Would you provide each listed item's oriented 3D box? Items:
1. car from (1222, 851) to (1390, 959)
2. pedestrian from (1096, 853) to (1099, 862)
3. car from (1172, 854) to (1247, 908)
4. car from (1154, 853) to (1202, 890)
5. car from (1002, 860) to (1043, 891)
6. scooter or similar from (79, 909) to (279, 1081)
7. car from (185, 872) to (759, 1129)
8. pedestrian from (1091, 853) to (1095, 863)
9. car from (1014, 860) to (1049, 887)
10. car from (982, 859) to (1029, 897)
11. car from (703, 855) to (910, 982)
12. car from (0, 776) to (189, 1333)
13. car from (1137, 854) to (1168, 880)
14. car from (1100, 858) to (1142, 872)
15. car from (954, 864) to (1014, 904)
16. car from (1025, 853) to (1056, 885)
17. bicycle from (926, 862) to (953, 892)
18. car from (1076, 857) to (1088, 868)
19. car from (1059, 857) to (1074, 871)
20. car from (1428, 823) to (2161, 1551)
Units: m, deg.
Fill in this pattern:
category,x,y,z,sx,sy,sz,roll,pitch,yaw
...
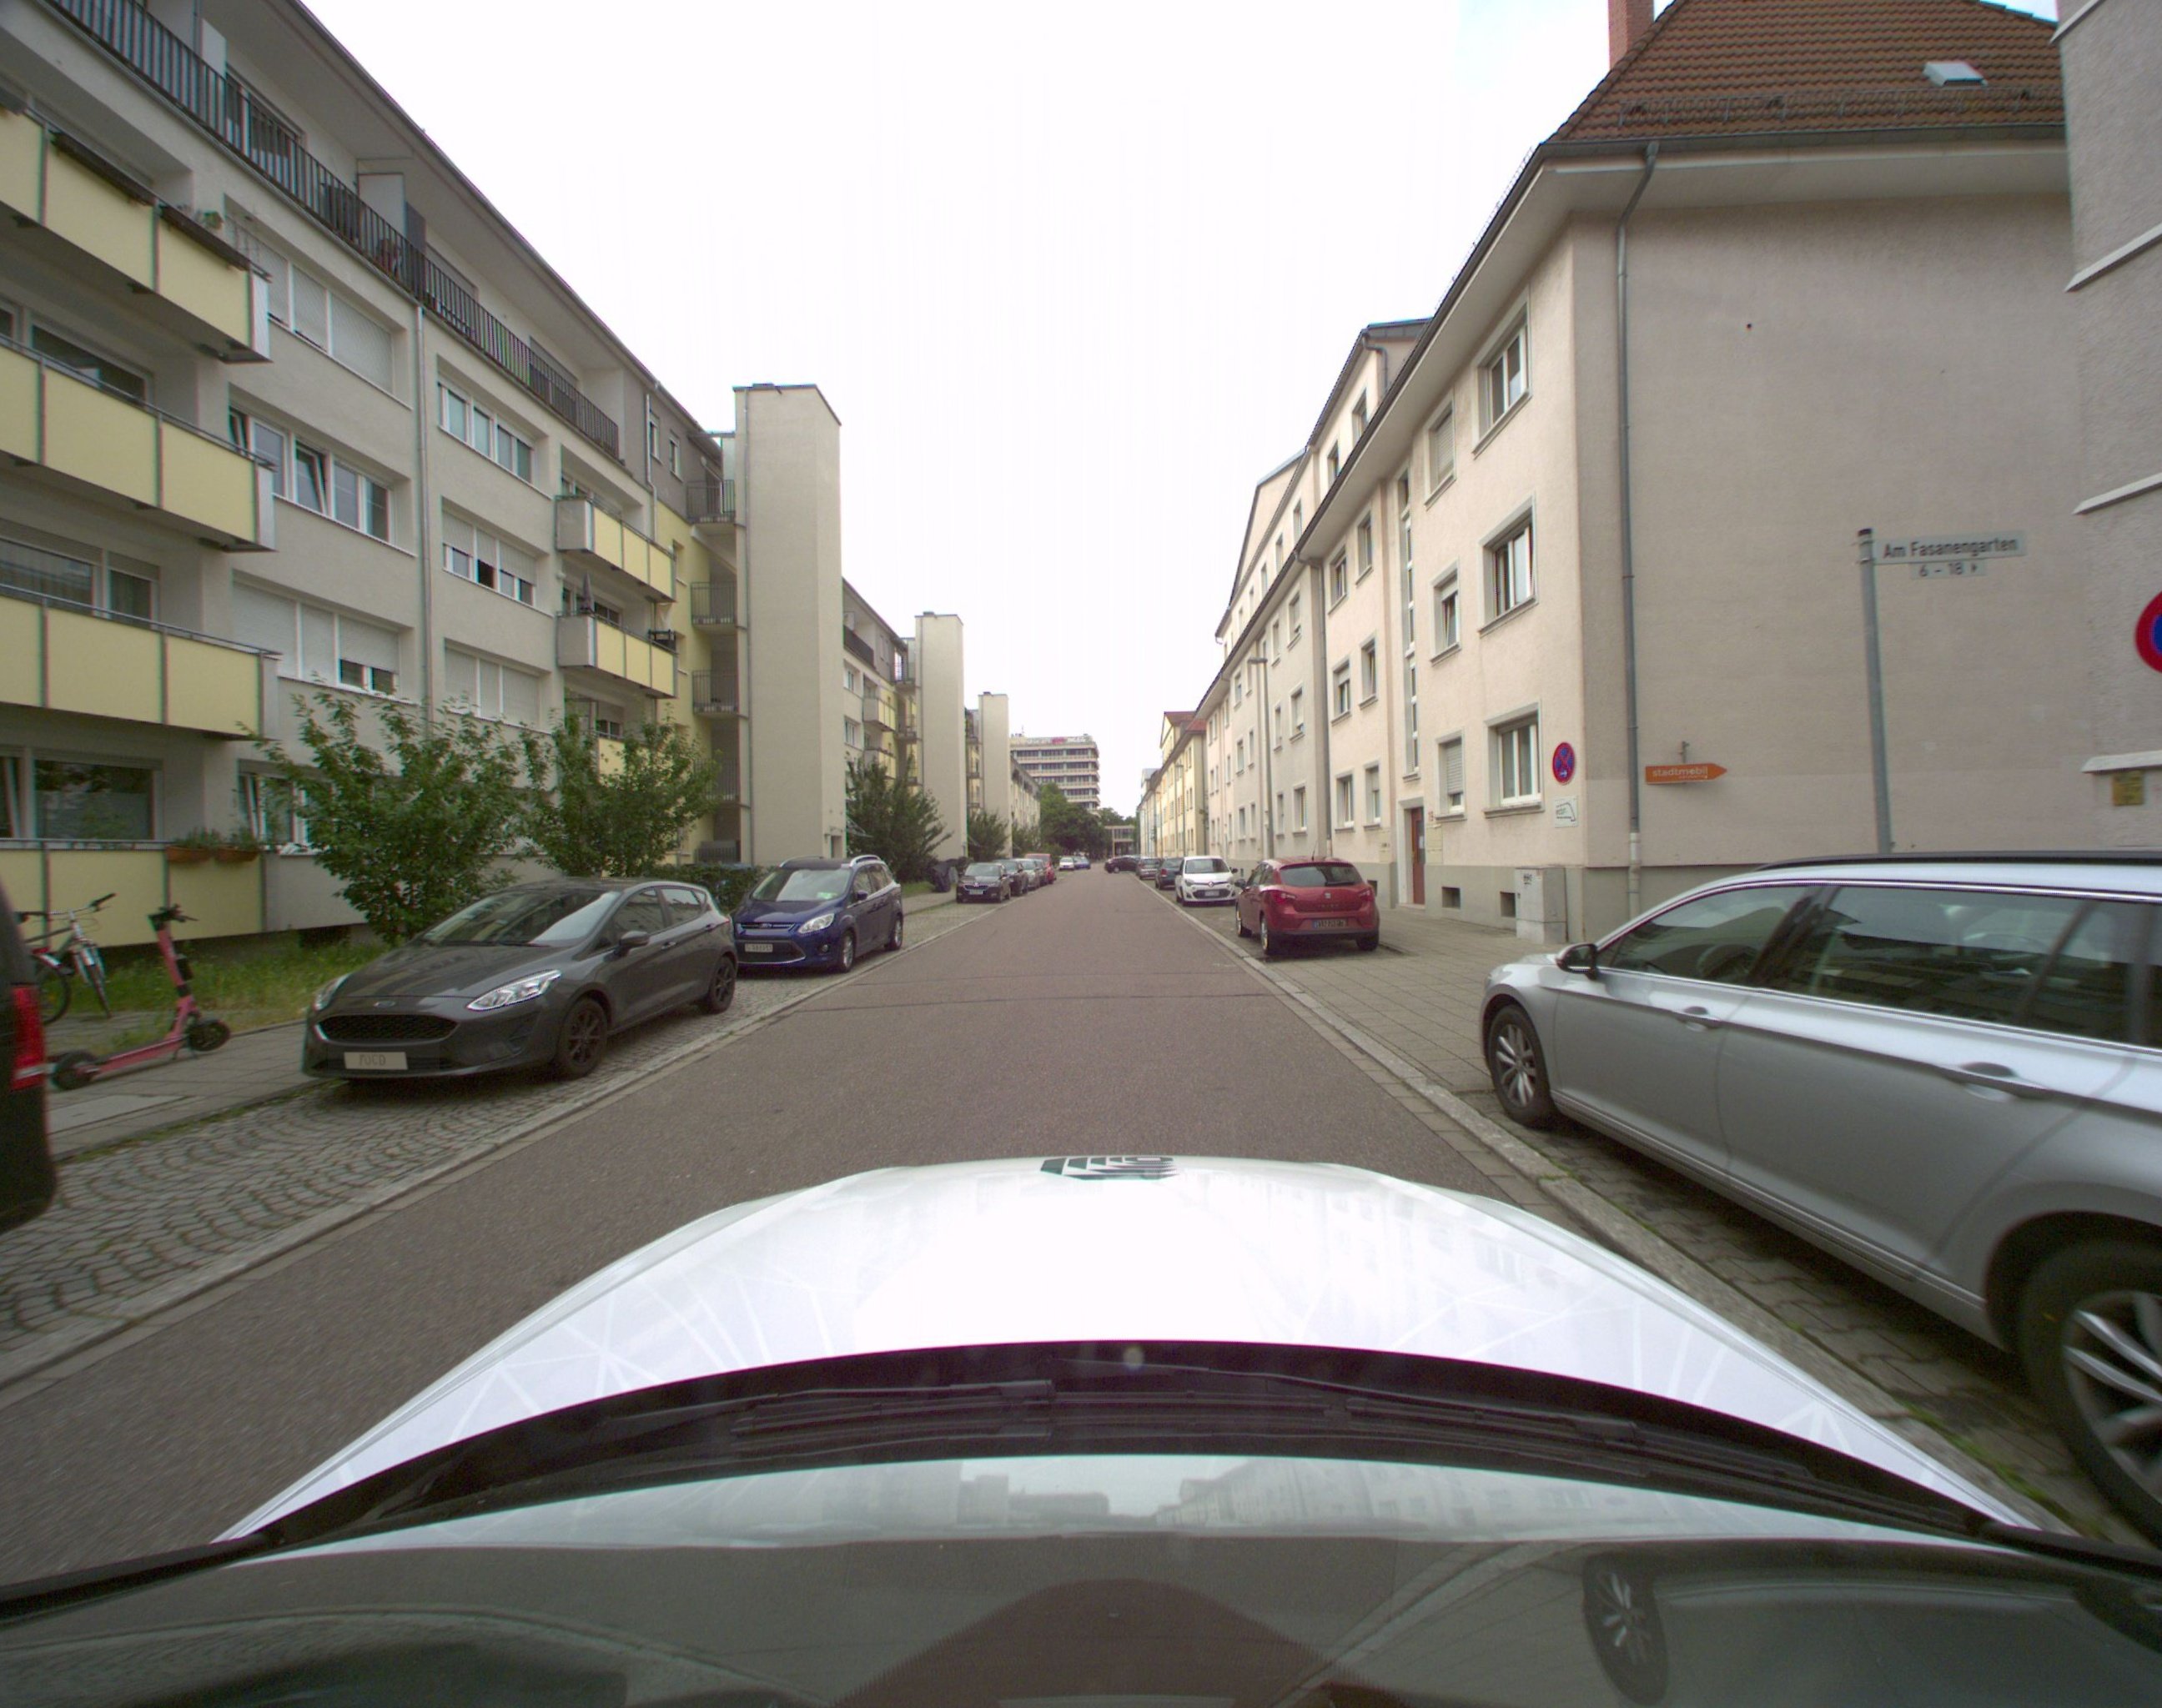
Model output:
category,x,y,z,sx,sy,sz,roll,pitch,yaw
car,3.493,0.706,13.394,1.664,1.420,4.000,-3,0,1
pedestrian,3.587,0.796,176.163,0.627,2.013,0.683,1,0,1
car,3.867,0.759,25.047,1.812,1.504,3.754,-1,0,2
car,4.368,0.738,37.151,1.812,1.577,3.754,-1,0,2
car,-3.011,1.083,42.577,1.665,1.526,4.254,-1,0,2
scooter or similar,-7.107,1.064,6.461,0.356,1.182,0.982,1,0,23
car,-4.611,0.954,7.175,1.824,1.459,4.259,-1,0,0
pedestrian,2.579,0.808,174.408,0.627,2.013,0.683,1,0,1
car,-2.854,1.094,47.728,1.665,1.487,3.743,-1,0,2
car,-3.338,1.029,36.564,1.665,1.564,3.665,-1,0,2
car,-4.069,0.846,12.885,1.764,1.643,4.354,-1,0,0
car,-4.613,0.674,0.803,1.873,1.904,5.030,1,0,0
car,4.677,0.825,53.792,1.812,1.577,3.885,-1,0,2
car,3.652,0.966,74.123,3.714,1.214,1.545,-1,0,2
car,-3.616,1.075,30.883,1.665,1.352,3.818,-1,0,2
car,-2.608,0.947,52.832,1.665,1.938,3.743,-1,0,2
bicycle,-6.316,1.019,36.505,0.868,1.288,1.892,-1,0,-1
car,0.109,1.085,104.381,1.534,1.450,3.740,-1,0,-1
car,-1.604,1.130,93.630,1.533,1.450,3.743,-1,0,2
car,3.057,0.658,2.871,1.749,1.467,4.601,-1,0,1
